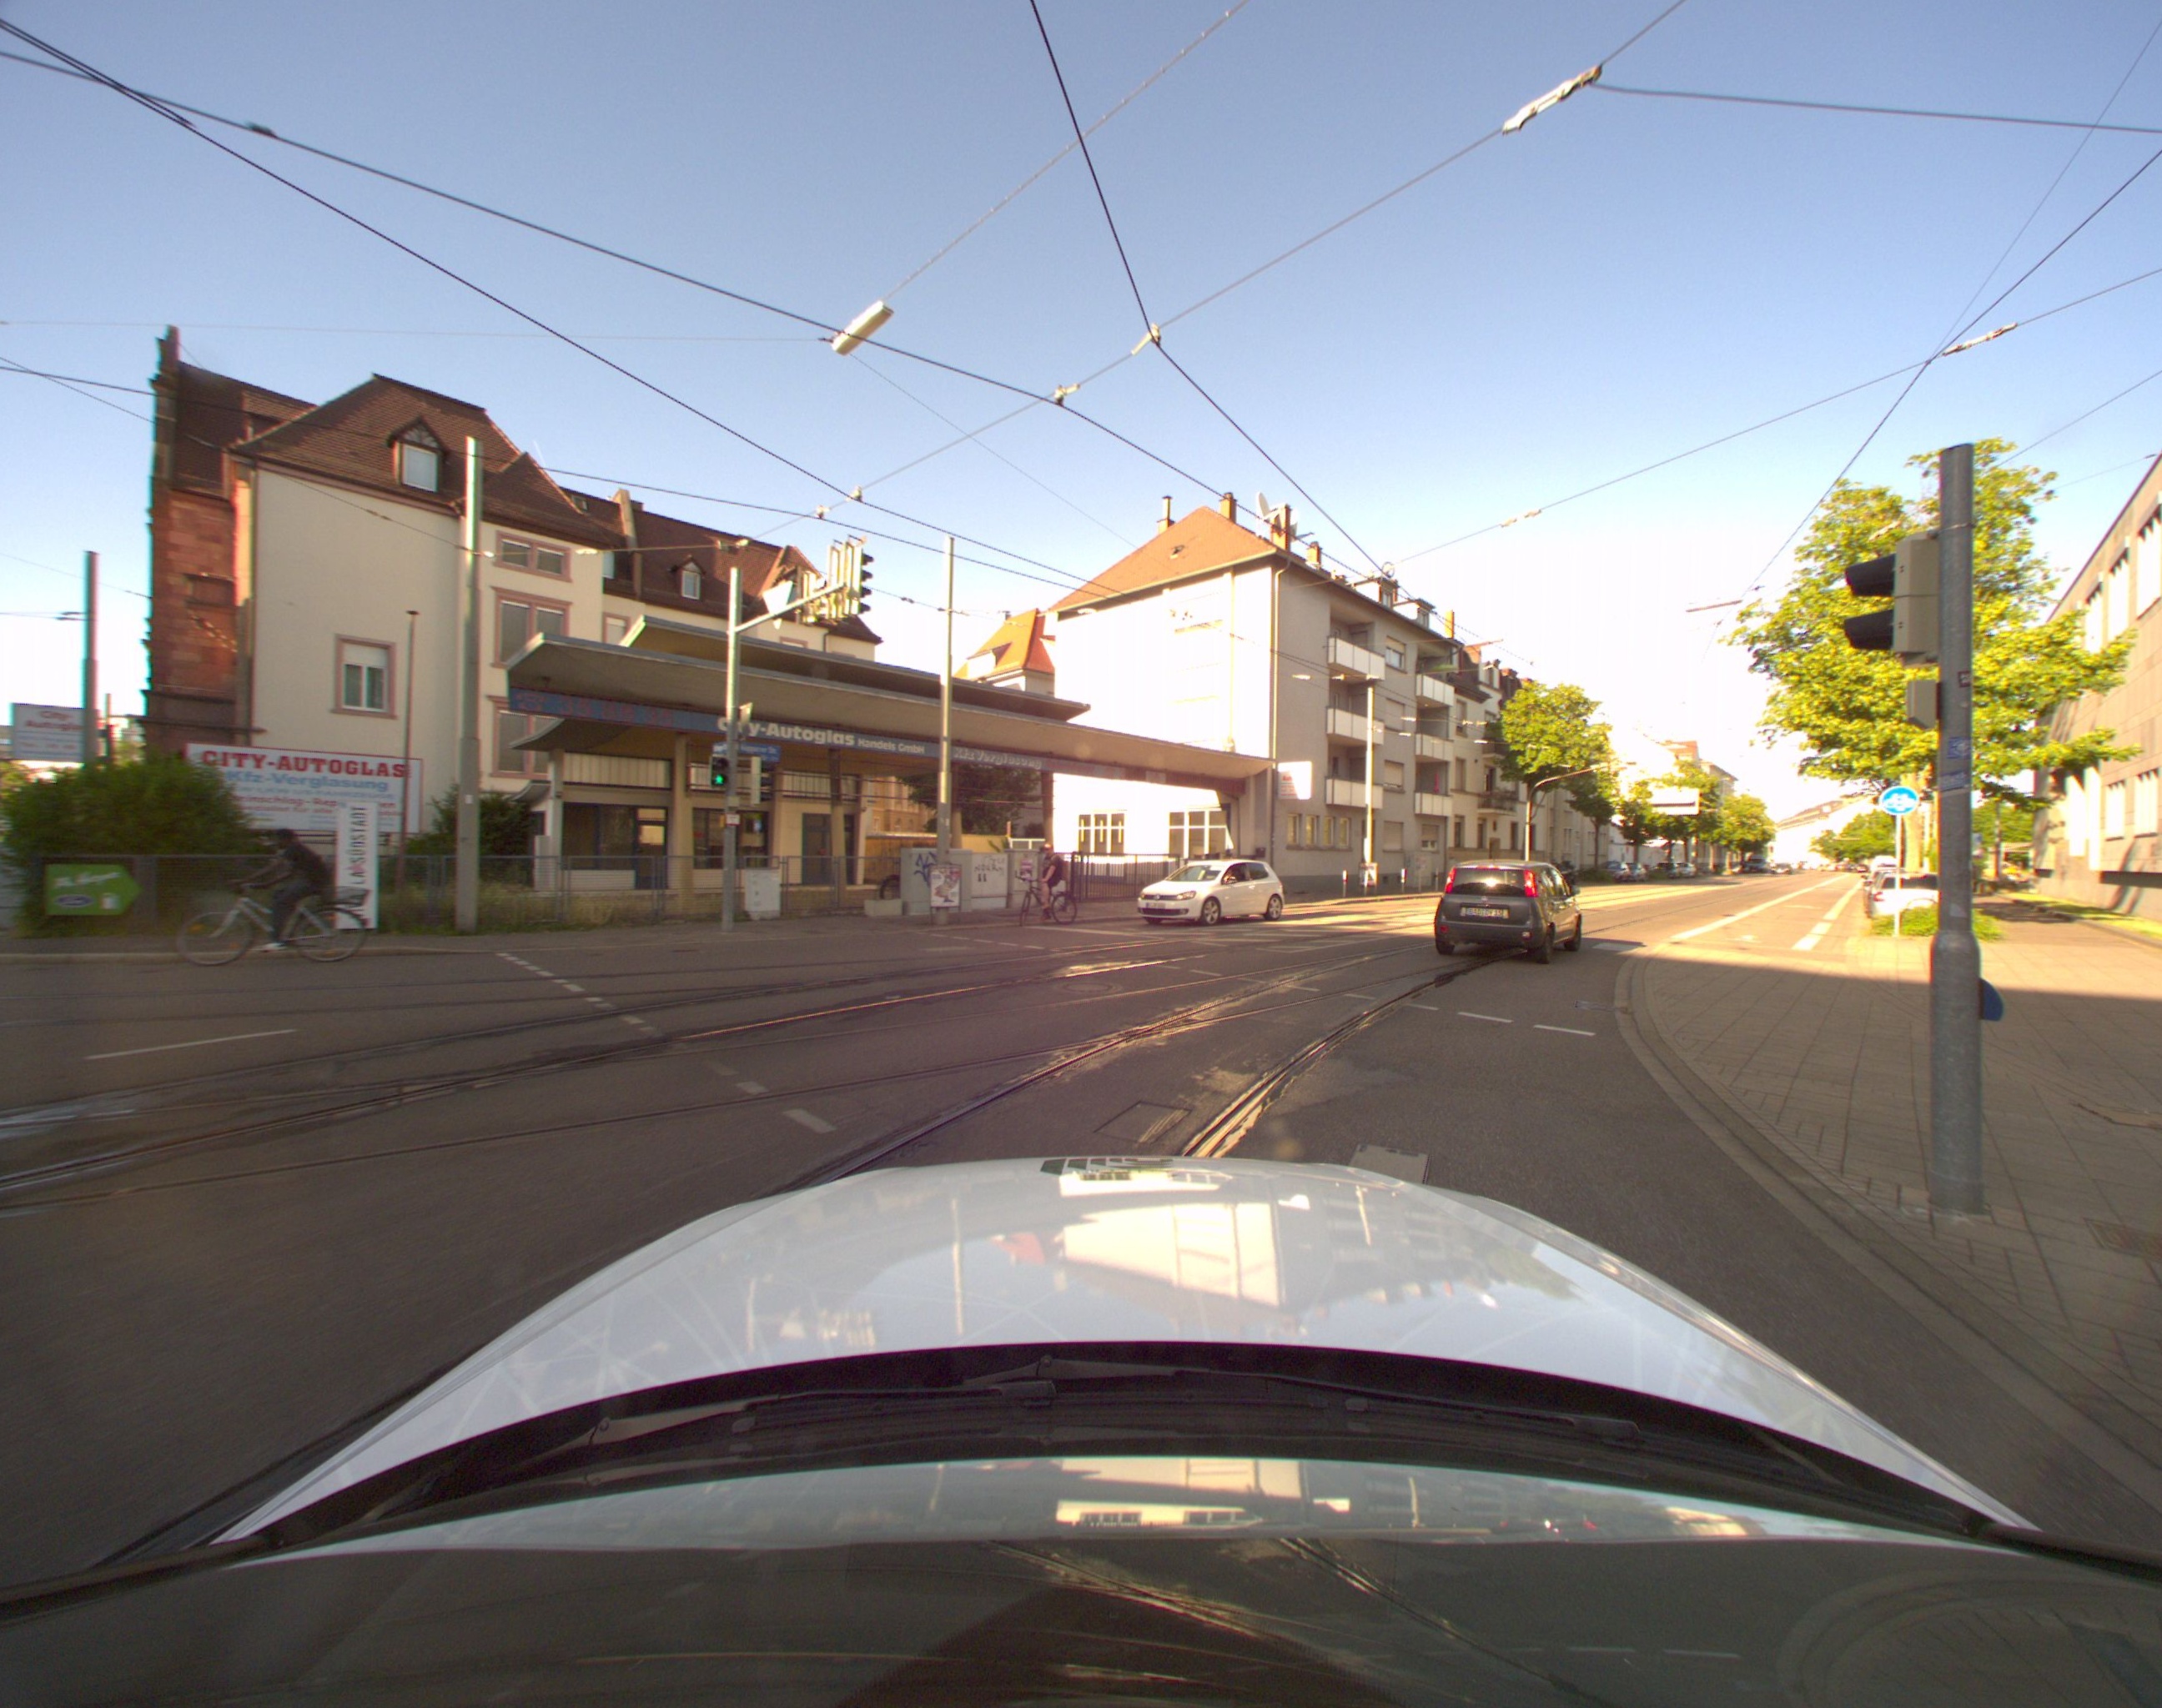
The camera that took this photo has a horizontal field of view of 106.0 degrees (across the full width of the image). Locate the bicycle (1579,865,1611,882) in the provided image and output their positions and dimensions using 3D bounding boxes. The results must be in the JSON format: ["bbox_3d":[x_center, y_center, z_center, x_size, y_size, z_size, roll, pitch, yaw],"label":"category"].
[{"bbox_3d":[34.377,1.294,54.503,1.729,1.023,0.613,2,0,25],"label":"bicycle"}]

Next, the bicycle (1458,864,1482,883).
[{"bbox_3d":[20.962,1.058,43.863,0.501,1.007,2.032,0,0,44],"label":"bicycle"}]

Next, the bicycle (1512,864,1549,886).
[{"bbox_3d":[23.364,1.092,42.380,1.596,1.044,0.460,2,0,13],"label":"bicycle"}]

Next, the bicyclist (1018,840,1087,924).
[{"bbox_3d":[-0.632,0.585,18.074,0.900,1.787,1.261,0,0,40],"label":"bicyclist"}]

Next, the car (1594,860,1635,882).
[{"bbox_3d":[37.430,1.174,57.099,1.781,1.486,4.024,0,0,43],"label":"car"}]

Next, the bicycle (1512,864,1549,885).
[{"bbox_3d":[24.194,1.104,43.869,1.691,1.033,0.446,2,0,24],"label":"bicycle"}]

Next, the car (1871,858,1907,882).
[{"bbox_3d":[66.107,1.281,66.667,1.938,1.905,4.213,0,0,43],"label":"car"}]

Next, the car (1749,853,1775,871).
[{"bbox_3d":[96.034,1.129,114.833,2.312,2.569,5.704,0,0,44],"label":"car"}]

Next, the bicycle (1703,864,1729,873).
[{"bbox_3d":[69.219,1.548,88.844,0.788,0.930,2.318,1,0,-9],"label":"bicycle"}]

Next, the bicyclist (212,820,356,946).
[{"bbox_3d":[-10.194,0.347,10.473,1.052,1.526,0.872,1,0,-23],"label":"bicyclist"}]

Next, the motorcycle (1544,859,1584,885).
[{"bbox_3d":[29.077,1.084,49.005,1.444,1.481,3.120,0,0,44],"label":"motorcycle"}]

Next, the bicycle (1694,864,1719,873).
[{"bbox_3d":[68.070,1.551,88.673,0.788,0.930,2.259,1,0,-9],"label":"bicycle"}]

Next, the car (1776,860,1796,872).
[{"bbox_3d":[89.264,1.481,103.140,1.764,1.492,4.213,2,1,43],"label":"car"}]

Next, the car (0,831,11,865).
[{"bbox_3d":[-66.026,-0.380,48.534,4.748,2.009,2.192,1,0,44],"label":"car"}]

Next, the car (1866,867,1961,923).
[{"bbox_3d":[25.312,1.179,24.884,1.822,1.490,4.670,0,0,43],"label":"car"}]

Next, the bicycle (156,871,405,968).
[{"bbox_3d":[-10.157,0.796,10.463,2.068,1.125,0.889,1,0,-25],"label":"bicycle"}]

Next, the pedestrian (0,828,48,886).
[{"bbox_3d":[-34.401,0.096,26.454,0.883,1.824,1.170,1,-1,-45],"label":"pedestrian"}]

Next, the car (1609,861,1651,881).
[{"bbox_3d":[41.073,1.239,60.912,1.938,1.419,4.213,0,0,43],"label":"car"}]

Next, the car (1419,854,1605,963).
[{"bbox_3d":[7.221,0.792,13.459,1.715,1.500,4.024,1,0,43],"label":"car"}]

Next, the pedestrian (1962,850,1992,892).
[{"bbox_3d":[44.104,0.837,40.087,1.031,2.013,0.959,1,0,-44],"label":"pedestrian"}]

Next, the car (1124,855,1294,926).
[{"bbox_3d":[3.080,0.783,19.046,4.214,1.458,1.774,1,-1,-45],"label":"car"}]

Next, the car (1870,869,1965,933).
[{"bbox_3d":[21.782,1.144,21.285,1.626,1.455,3.937,0,0,45],"label":"car"}]

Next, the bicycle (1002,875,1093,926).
[{"bbox_3d":[-0.714,0.998,17.954,0.718,1.017,2.060,0,0,45],"label":"bicycle"}]
